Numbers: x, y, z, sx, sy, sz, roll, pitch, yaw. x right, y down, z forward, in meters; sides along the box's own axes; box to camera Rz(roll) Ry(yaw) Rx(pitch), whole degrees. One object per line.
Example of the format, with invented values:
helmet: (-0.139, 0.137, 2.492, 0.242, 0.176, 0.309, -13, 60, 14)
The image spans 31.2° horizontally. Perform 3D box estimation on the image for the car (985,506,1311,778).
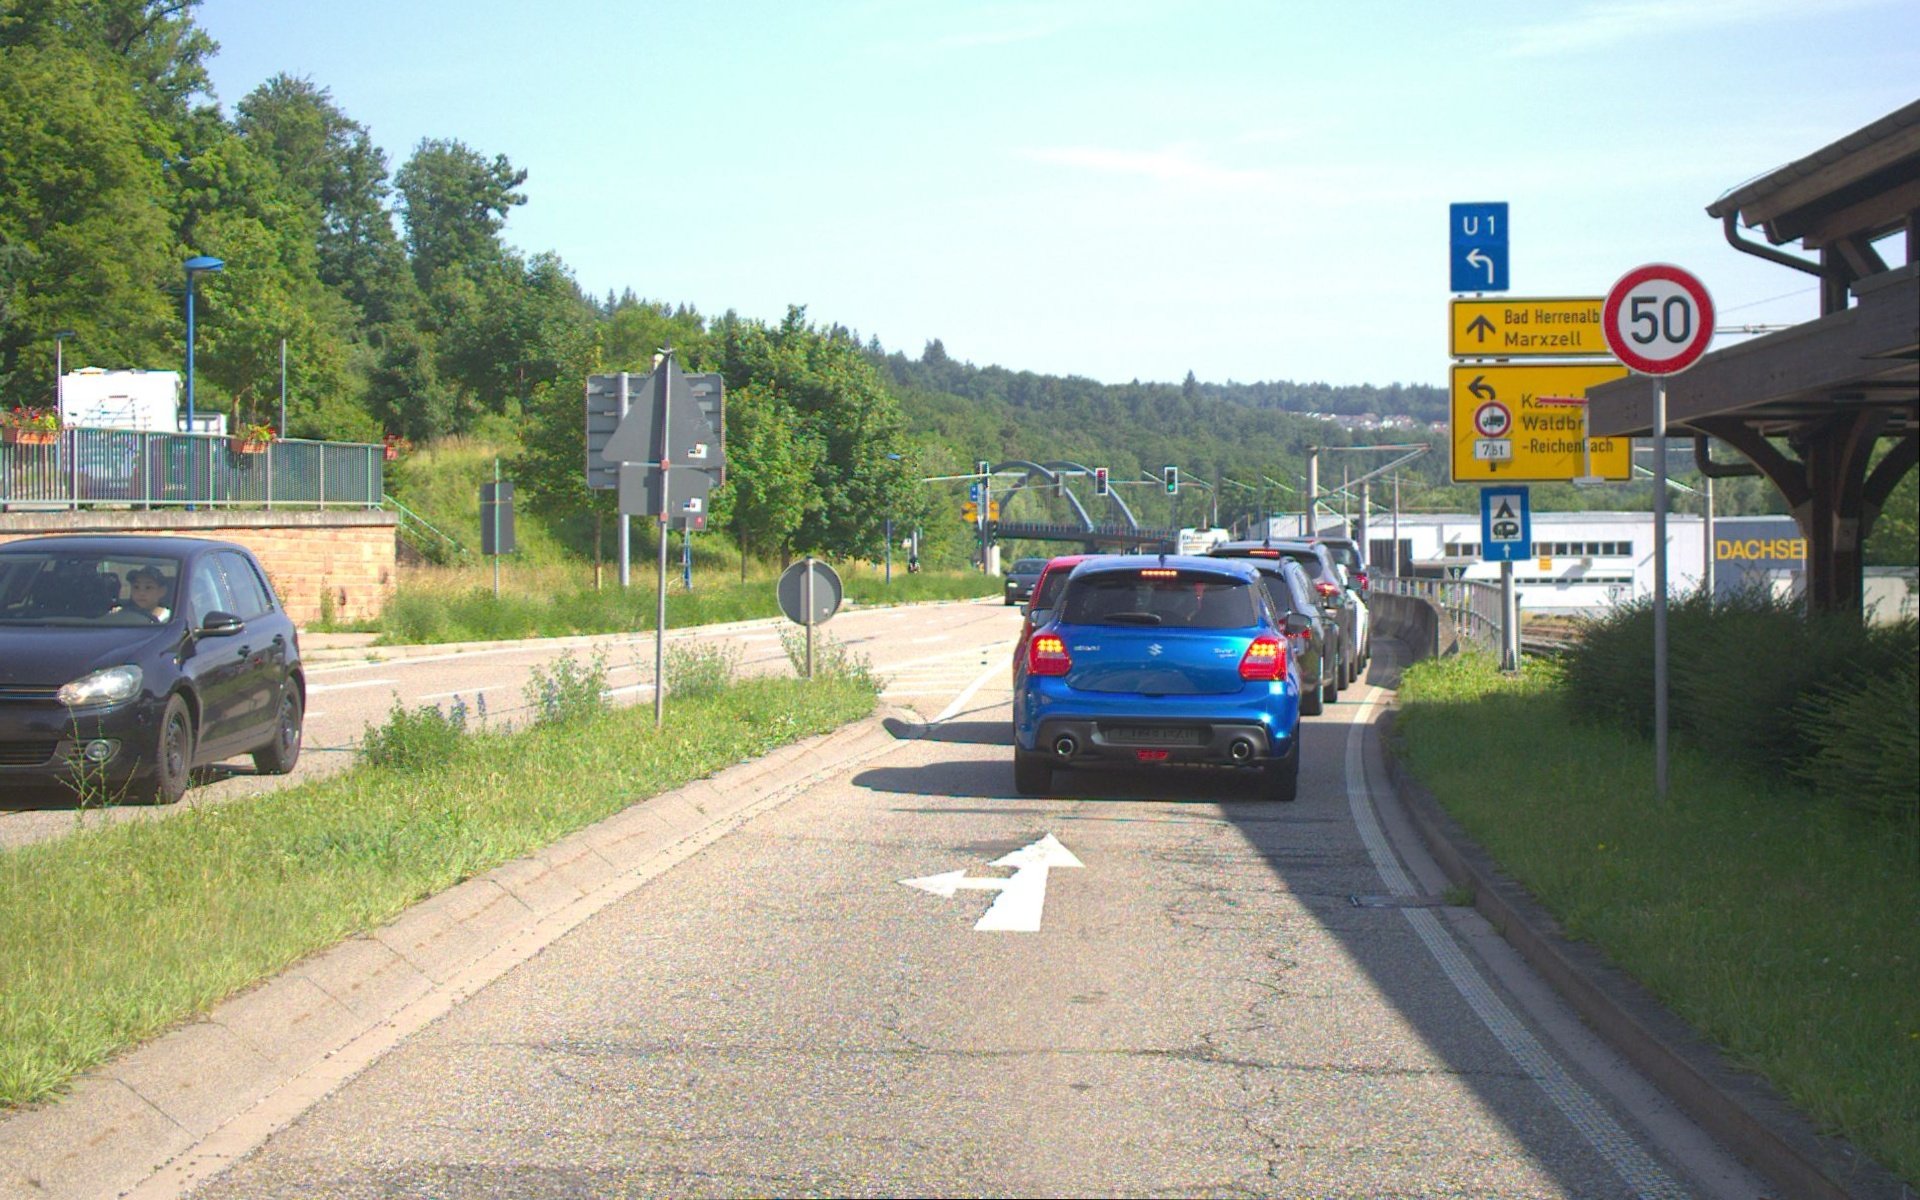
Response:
car: (1.225, 0.210, 22.239, 1.868, 1.543, 4.000, 2, 1, 3)

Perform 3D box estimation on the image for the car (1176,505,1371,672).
car: (3.591, -0.169, 39.117, 1.994, 1.680, 4.496, 3, 1, 6)

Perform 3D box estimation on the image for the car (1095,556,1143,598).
car: (7.213, -1.063, 155.366, 1.994, 1.777, 4.000, 3, 1, 4)

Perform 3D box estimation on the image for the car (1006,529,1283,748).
car: (1.573, 0.264, 27.899, 1.994, 1.566, 3.999, 3, 1, 6)

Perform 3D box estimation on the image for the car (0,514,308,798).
car: (-5.041, 0.241, 19.787, 1.745, 1.457, 4.044, 1, 1, 1)

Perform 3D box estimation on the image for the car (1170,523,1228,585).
car: (8.777, -1.702, 126.382, 1.994, 2.137, 4.719, 3, 1, 4)

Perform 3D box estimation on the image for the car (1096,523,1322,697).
car: (2.460, 0.042, 33.109, 1.994, 1.526, 4.601, 1, 1, 6)

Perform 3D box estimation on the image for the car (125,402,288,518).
car: (-13.548, -2.526, 62.075, 2.020, 1.913, 4.732, 3, 2, -2)

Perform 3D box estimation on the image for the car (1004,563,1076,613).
car: (2.570, -0.401, 109.324, 1.792, 1.465, 4.715, 2, 1, 7)

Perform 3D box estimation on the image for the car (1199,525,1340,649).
car: (4.793, -0.228, 53.061, 1.994, 1.730, 3.999, 3, 1, 6)

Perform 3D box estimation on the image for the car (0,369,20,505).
car: (-18.669, -3.061, 63.548, 2.092, 2.435, 5.787, 3, 2, -13)
